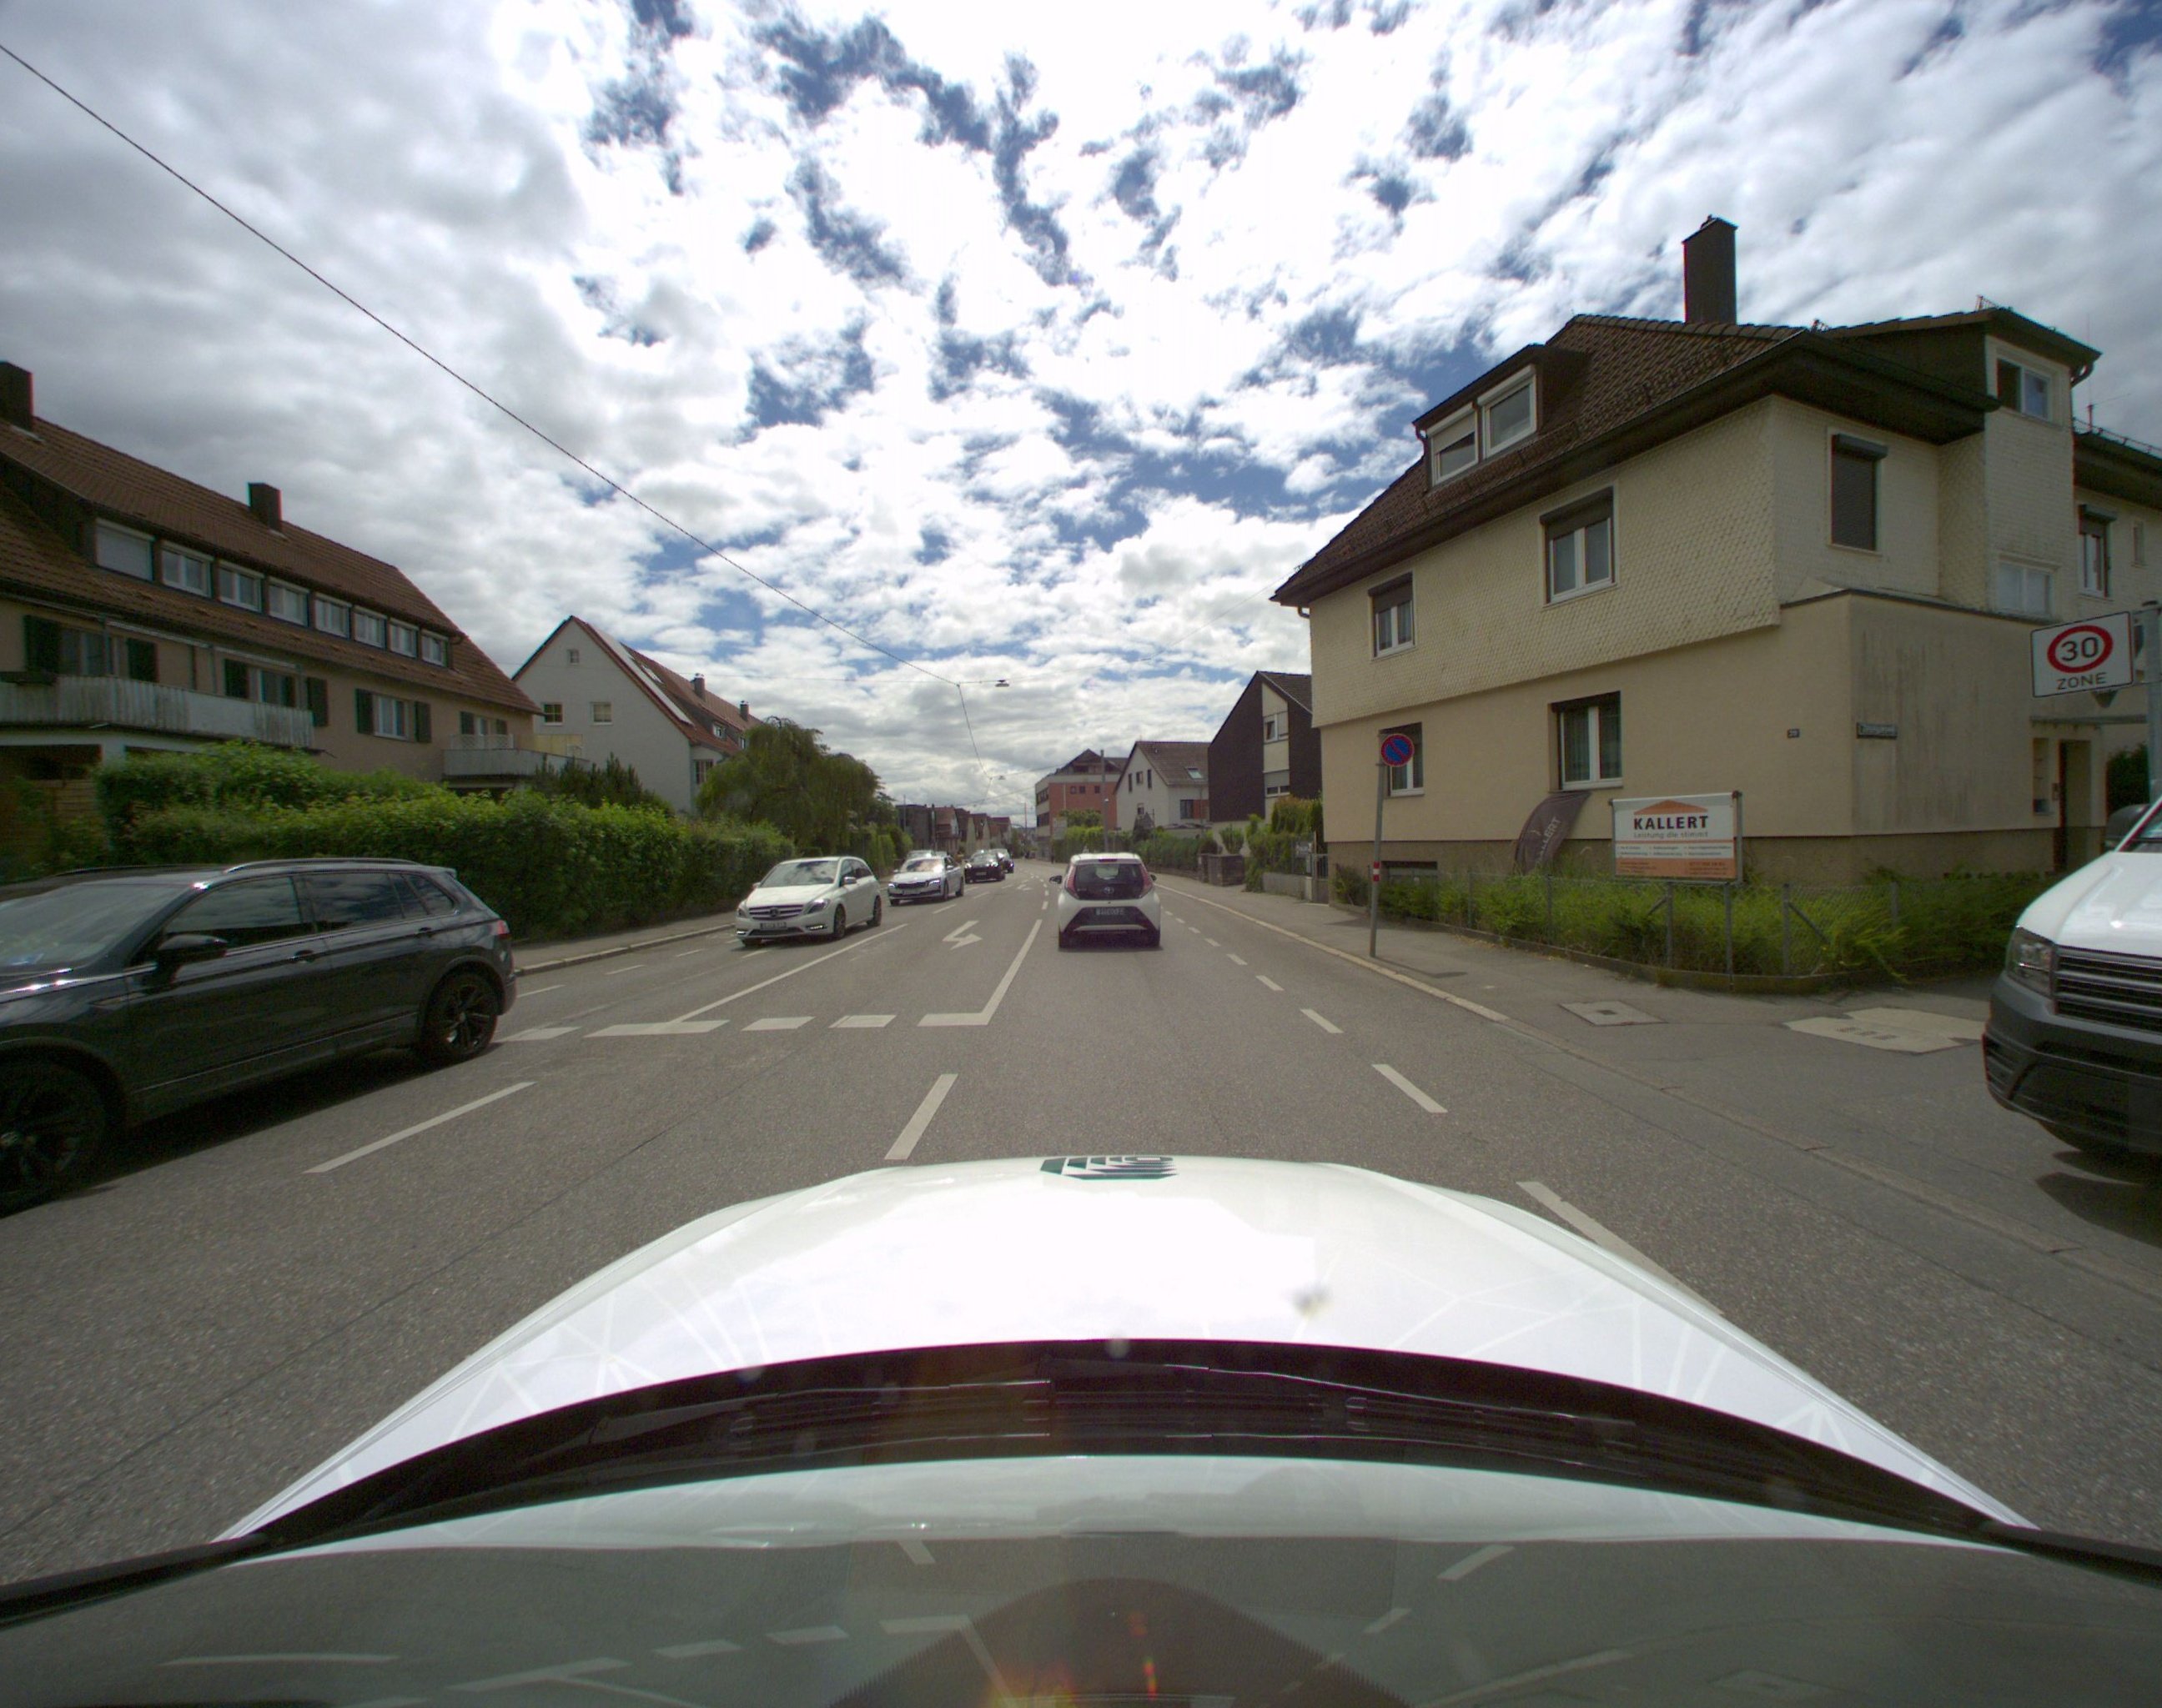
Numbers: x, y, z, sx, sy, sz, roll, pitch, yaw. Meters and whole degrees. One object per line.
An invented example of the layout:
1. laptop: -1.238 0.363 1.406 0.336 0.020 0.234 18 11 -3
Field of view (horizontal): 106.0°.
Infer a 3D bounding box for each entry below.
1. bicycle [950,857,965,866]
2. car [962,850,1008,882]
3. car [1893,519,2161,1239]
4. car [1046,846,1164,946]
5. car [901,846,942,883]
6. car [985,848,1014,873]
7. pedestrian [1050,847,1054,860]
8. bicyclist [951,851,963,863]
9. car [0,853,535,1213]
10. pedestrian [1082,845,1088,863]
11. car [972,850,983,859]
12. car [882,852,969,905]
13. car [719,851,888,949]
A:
1. bicycle: -14.042 0.817 92.305 1.117 0.936 3.766 -4 0 -17
2. car: -4.776 0.566 41.135 1.769 1.430 4.008 -3 0 0
3. car: 6.852 0.020 3.217 5.993 2.581 1.995 -2 1 -9
4. car: 0.282 0.629 14.310 1.618 1.486 3.993 -1 0 -5
5. car: -8.925 0.572 45.854 1.773 1.846 4.001 -4 0 -6
6. car: -5.607 0.417 56.265 1.773 1.552 4.001 -4 0 -6
7. pedestrian: -3.024 -0.058 85.420 0.413 1.437 0.437 -1 0 -7
8. bicyclist: -14.068 0.348 92.320 1.117 1.336 1.623 -4 0 -17
9. car: -5.771 0.853 5.089 1.769 1.603 4.170 -3 0 1
10. pedestrian: 0.299 0.008 67.435 0.413 1.437 0.436 -1 0 -12
11. car: -19.715 0.123 155.592 1.991 1.684 3.991 0 0 -6
12. car: -5.013 0.743 26.878 1.768 1.430 4.524 -4 0 2
13. car: -5.234 0.772 15.989 1.769 1.561 4.170 -3 0 1
